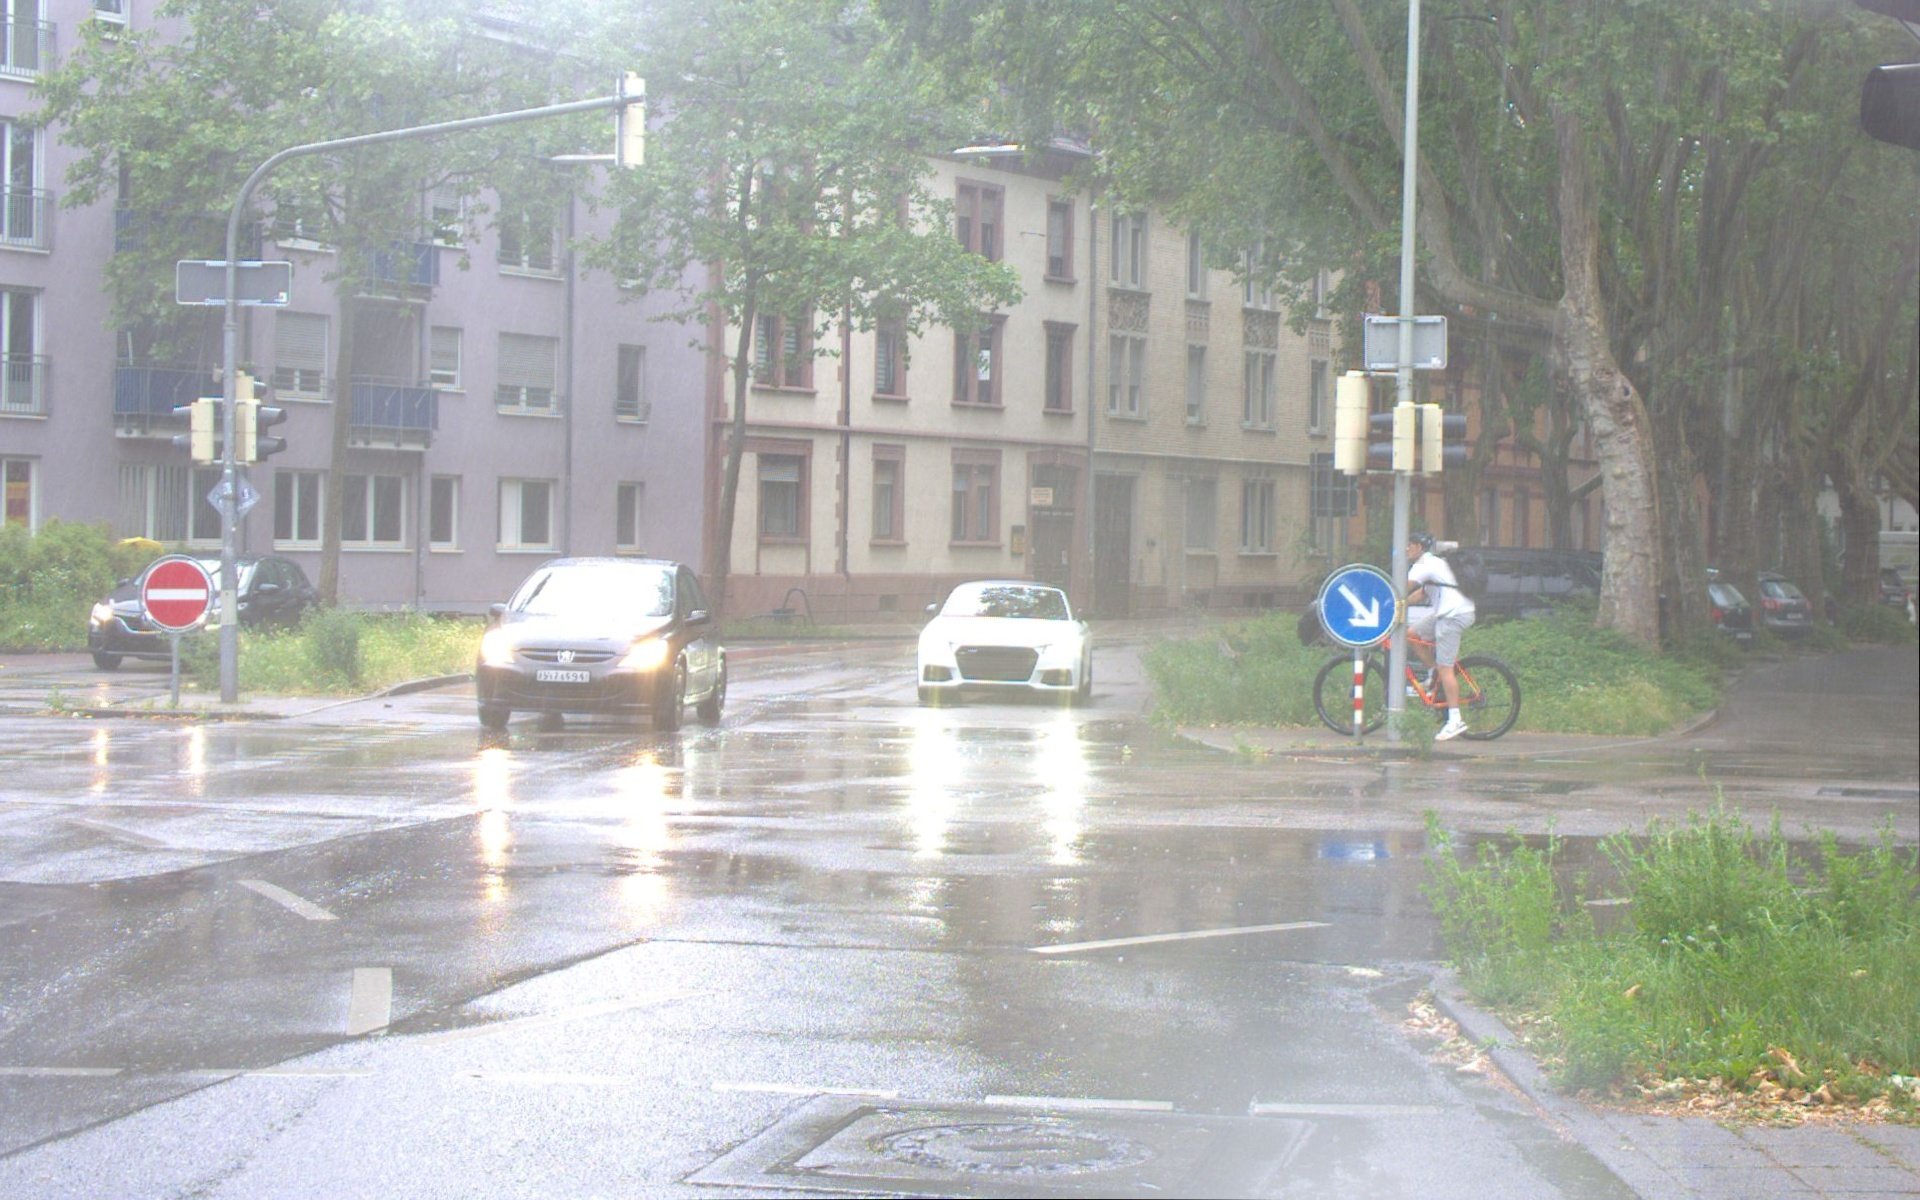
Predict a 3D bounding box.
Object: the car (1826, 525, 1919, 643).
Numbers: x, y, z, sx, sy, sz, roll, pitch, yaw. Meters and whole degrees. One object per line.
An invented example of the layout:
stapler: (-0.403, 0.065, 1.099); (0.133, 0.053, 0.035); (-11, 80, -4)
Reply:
car: (24.377, -0.417, 87.718); (2.033, 2.938, 4.773); (1, 1, -21)

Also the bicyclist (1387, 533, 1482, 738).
bicyclist: (4.188, 0.304, 30.363); (0.795, 1.780, 0.697); (1, 0, 8)

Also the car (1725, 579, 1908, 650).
car: (19.558, 0.307, 78.656); (3.989, 1.542, 1.999); (1, 1, 12)

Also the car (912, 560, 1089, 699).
car: (0.492, 0.293, 39.116); (1.884, 1.431, 4.000); (1, 1, 1)

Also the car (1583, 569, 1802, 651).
car: (13.945, 0.172, 65.482); (3.989, 1.481, 1.999); (1, 1, 12)

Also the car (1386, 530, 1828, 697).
car: (6.158, 0.108, 32.704); (3.989, 1.481, 1.999); (1, 1, 12)

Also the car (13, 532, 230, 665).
car: (-10.057, -0.051, 41.495); (1.751, 1.506, 3.839); (1, 1, -2)

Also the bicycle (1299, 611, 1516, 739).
bicycle: (3.953, 0.652, 30.395); (1.873, 1.077, 0.657); (1, 0, 8)

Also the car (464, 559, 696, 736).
car: (-3.317, 0.379, 30.593); (1.714, 1.454, 3.748); (1, 1, -1)
